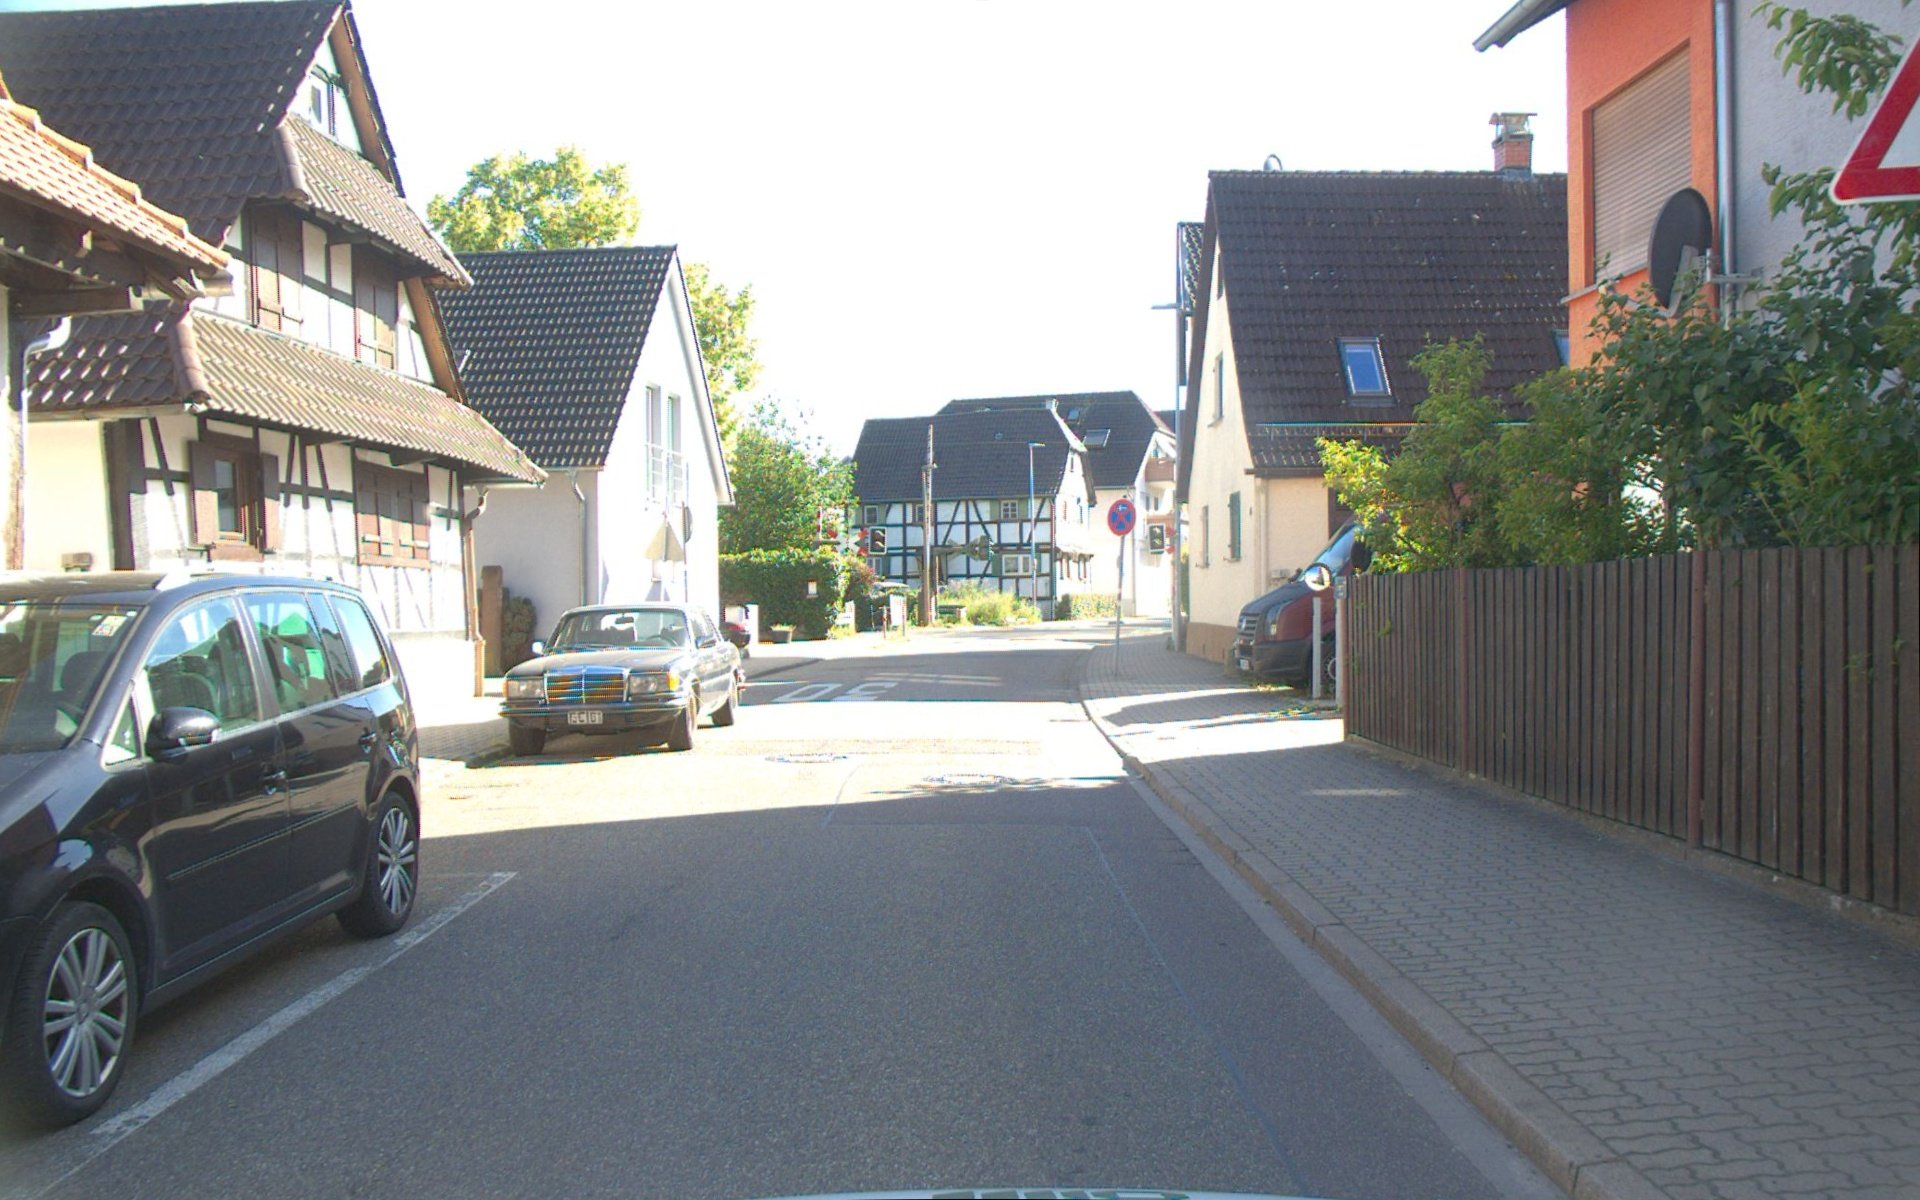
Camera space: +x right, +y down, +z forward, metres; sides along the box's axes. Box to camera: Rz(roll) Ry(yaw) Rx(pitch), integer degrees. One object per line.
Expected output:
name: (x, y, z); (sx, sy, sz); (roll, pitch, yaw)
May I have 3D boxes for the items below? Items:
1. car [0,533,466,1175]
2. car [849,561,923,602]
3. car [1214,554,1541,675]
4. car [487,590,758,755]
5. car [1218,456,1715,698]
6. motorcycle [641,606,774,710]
car: (-3.325, 0.658, 5.972); (1.747, 1.633, 4.361); (-1, 0, 0)
car: (-3.012, -0.730, 66.457); (1.661, 1.592, 3.971); (1, 0, -23)
car: (6.086, 0.212, 24.448); (4.286, 1.513, 1.839); (-3, -1, -2)
car: (-3.391, 0.672, 17.633); (1.807, 1.430, 5.036); (-2, 0, 0)
car: (6.403, -0.285, 21.289); (5.689, 2.701, 1.966); (-3, -1, -4)
motorcycle: (-3.262, 0.725, 21.256); (1.961, 1.253, 0.622); (-1, 1, 45)
